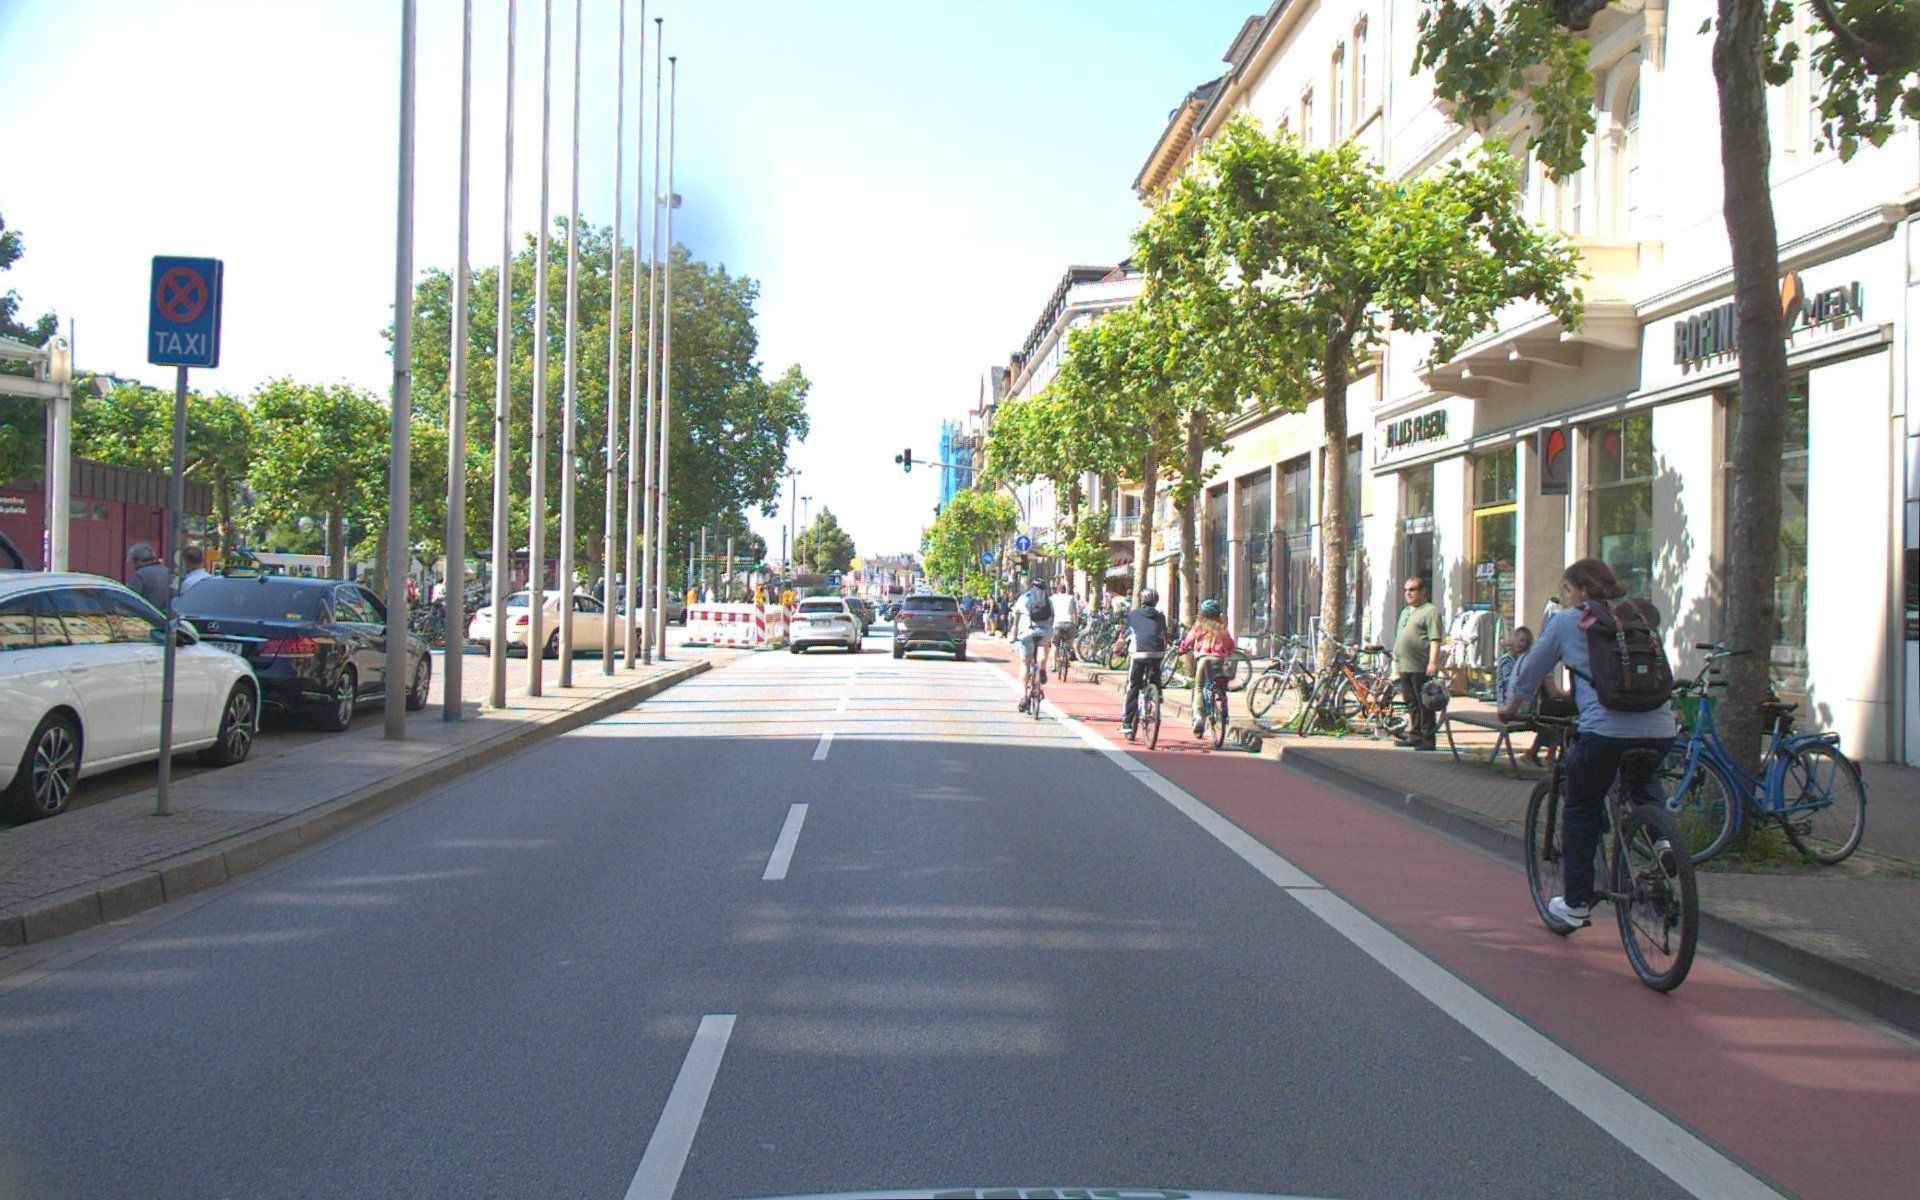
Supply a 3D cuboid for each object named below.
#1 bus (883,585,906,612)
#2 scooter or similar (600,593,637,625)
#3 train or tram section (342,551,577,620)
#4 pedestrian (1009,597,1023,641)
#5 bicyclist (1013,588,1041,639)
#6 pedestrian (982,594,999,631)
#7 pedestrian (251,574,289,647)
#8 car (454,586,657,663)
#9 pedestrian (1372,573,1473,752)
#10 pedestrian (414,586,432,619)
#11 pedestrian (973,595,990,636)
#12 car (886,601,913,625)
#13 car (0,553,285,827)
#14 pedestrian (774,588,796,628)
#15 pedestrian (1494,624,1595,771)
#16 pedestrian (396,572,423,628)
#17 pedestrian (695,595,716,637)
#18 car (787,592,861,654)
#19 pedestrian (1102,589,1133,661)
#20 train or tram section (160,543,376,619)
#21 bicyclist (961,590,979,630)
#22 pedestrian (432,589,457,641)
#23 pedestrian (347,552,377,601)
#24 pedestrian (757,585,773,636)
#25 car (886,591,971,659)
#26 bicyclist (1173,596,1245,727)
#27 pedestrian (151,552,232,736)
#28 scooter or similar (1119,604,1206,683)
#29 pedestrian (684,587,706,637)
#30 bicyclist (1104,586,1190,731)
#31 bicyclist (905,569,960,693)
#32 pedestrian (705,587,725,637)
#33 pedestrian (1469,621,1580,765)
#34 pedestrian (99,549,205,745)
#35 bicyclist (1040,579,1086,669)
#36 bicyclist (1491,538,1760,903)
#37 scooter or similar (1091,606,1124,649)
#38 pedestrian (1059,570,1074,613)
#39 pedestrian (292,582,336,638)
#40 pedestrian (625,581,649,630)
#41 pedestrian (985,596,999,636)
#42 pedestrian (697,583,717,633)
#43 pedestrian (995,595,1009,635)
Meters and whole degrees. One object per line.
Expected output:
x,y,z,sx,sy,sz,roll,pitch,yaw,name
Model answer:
-9.370,-0.133,236.045,2.935,3.657,11.736,1,-1,-3,bus
-15.611,0.413,75.567,1.252,1.445,1.037,1,-1,28,scooter or similar
-29.219,-0.743,98.023,2.566,3.741,15.509,1,0,31,train or tram section
2.131,0.714,63.049,0.537,1.659,0.589,0,-1,0,pedestrian
2.400,0.476,59.602,0.569,1.828,0.845,-1,0,-37,bicyclist
1.299,0.548,70.687,0.598,1.541,0.677,-3,0,-5,pedestrian
-16.465,0.247,39.495,0.659,1.707,0.685,2,0,-11,pedestrian
-9.047,0.540,37.472,1.853,1.569,4.859,2,0,24,car
4.661,0.610,16.704,0.627,1.718,0.842,3,0,-5,pedestrian
-21.012,0.088,64.731,0.601,1.284,0.608,1,0,-24,pedestrian
0.949,0.688,73.619,0.598,1.770,0.677,-3,0,-5,pedestrian
-4.674,0.989,126.765,1.809,1.697,3.996,2,0,-5,car
-6.397,0.463,11.295,1.763,1.549,4.736,2,1,-3,car
-7.178,0.345,67.774,0.619,1.623,0.687,1,-1,18,pedestrian
5.148,0.850,14.587,0.626,1.254,0.596,2,-1,-5,pedestrian
-19.060,-0.004,57.237,0.657,1.912,0.623,3,-1,-37,pedestrian
-11.289,0.695,73.279,0.619,1.842,0.731,1,-1,18,pedestrian
-3.594,0.582,44.316,1.808,1.587,3.998,0,0,-2,car
3.628,0.569,38.084,0.602,1.640,0.744,1,0,-2,pedestrian
-36.088,-0.916,86.923,2.566,3.741,10.972,1,0,32,train or tram section
0.397,0.386,65.001,0.634,1.578,0.817,1,0,-3,bicyclist
-17.748,0.525,56.972,0.564,1.769,0.606,2,-1,3,pedestrian
-22.074,-0.866,61.027,0.593,1.780,0.802,1,-1,29,pedestrian
-7.569,0.400,64.274,0.521,1.953,0.560,1,-1,-1,pedestrian
-0.814,0.570,40.353,1.809,1.586,3.996,0,0,-5,car
2.713,0.657,18.063,0.588,1.381,0.720,1,0,-6,bicyclist
-7.799,0.438,16.793,0.522,1.824,0.537,1,0,37,pedestrian
3.530,0.744,28.747,1.443,1.296,0.670,2,0,8,scooter or similar
-9.528,0.427,59.450,0.534,1.748,0.599,3,-1,-34,pedestrian
1.952,0.602,17.337,0.685,1.466,0.789,2,0,-6,bicyclist
-0.358,0.391,20.945,0.618,1.507,1.197,2,-1,-3,bicyclist
-8.790,0.432,59.271,0.425,1.770,0.599,3,-1,-34,pedestrian
5.143,0.838,15.092,0.772,1.265,0.575,2,-1,-5,pedestrian
-7.765,0.436,15.904,0.608,1.824,0.690,1,0,36,pedestrian
1.938,0.444,31.147,0.759,1.664,0.851,1,0,-3,bicyclist
2.883,0.496,7.252,0.685,1.471,0.959,2,0,-6,bicyclist
4.287,0.798,48.107,0.415,1.198,1.223,1,0,-23,scooter or similar
4.153,-0.314,64.403,0.537,1.669,0.589,0,-1,0,pedestrian
-16.612,0.247,42.546,0.657,1.405,0.898,2,0,6,pedestrian
-12.562,0.207,64.400,0.619,1.891,0.687,1,-1,18,pedestrian
1.520,0.768,78.169,0.598,1.855,0.677,1,-1,-5,pedestrian
-9.195,0.299,60.193,0.528,1.811,0.606,2,-1,3,pedestrian
1.662,0.587,65.423,0.512,1.548,0.641,0,-1,0,pedestrian
